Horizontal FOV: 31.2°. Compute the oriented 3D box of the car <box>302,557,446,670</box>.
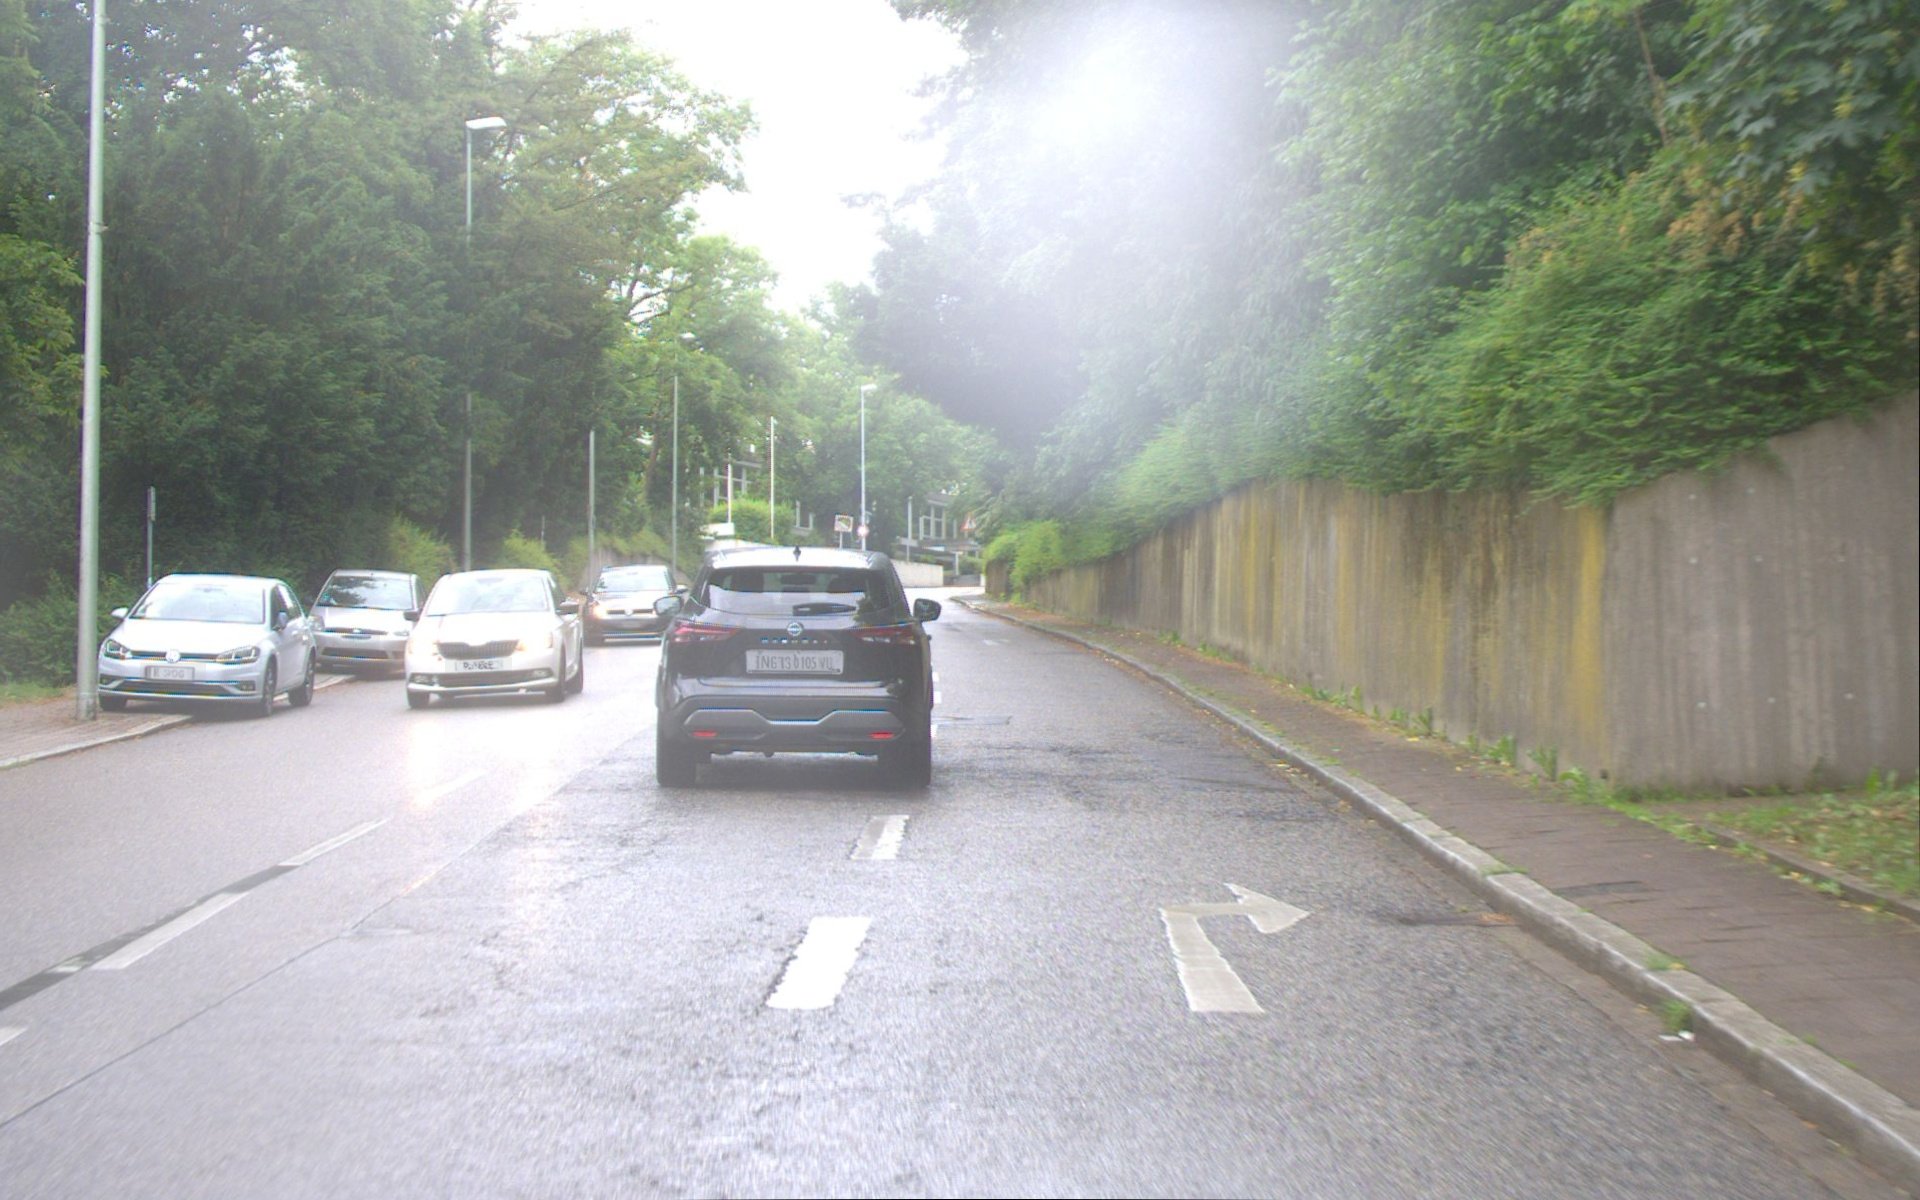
[{"bbox_3d":[-8.312,0.161,49.020,1.626,1.494,3.929,2,1,-4],"label":"car"}]

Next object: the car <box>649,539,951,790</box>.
[{"bbox_3d":[-1.099,0.384,23.991,1.928,1.607,4.000,0,1,-2],"label":"car"}]

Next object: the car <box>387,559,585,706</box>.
[{"bbox_3d":[-5.154,0.314,37.772,1.724,1.430,3.913,-3,1,-2],"label":"car"}]

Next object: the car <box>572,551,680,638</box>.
[{"bbox_3d":[-6.160,-0.129,63.675,1.760,1.486,4.001,-2,1,-3],"label":"car"}]

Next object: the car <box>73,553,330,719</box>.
[{"bbox_3d":[-8.152,0.334,37.303,1.886,1.606,4.239,-3,1,-2],"label":"car"}]
